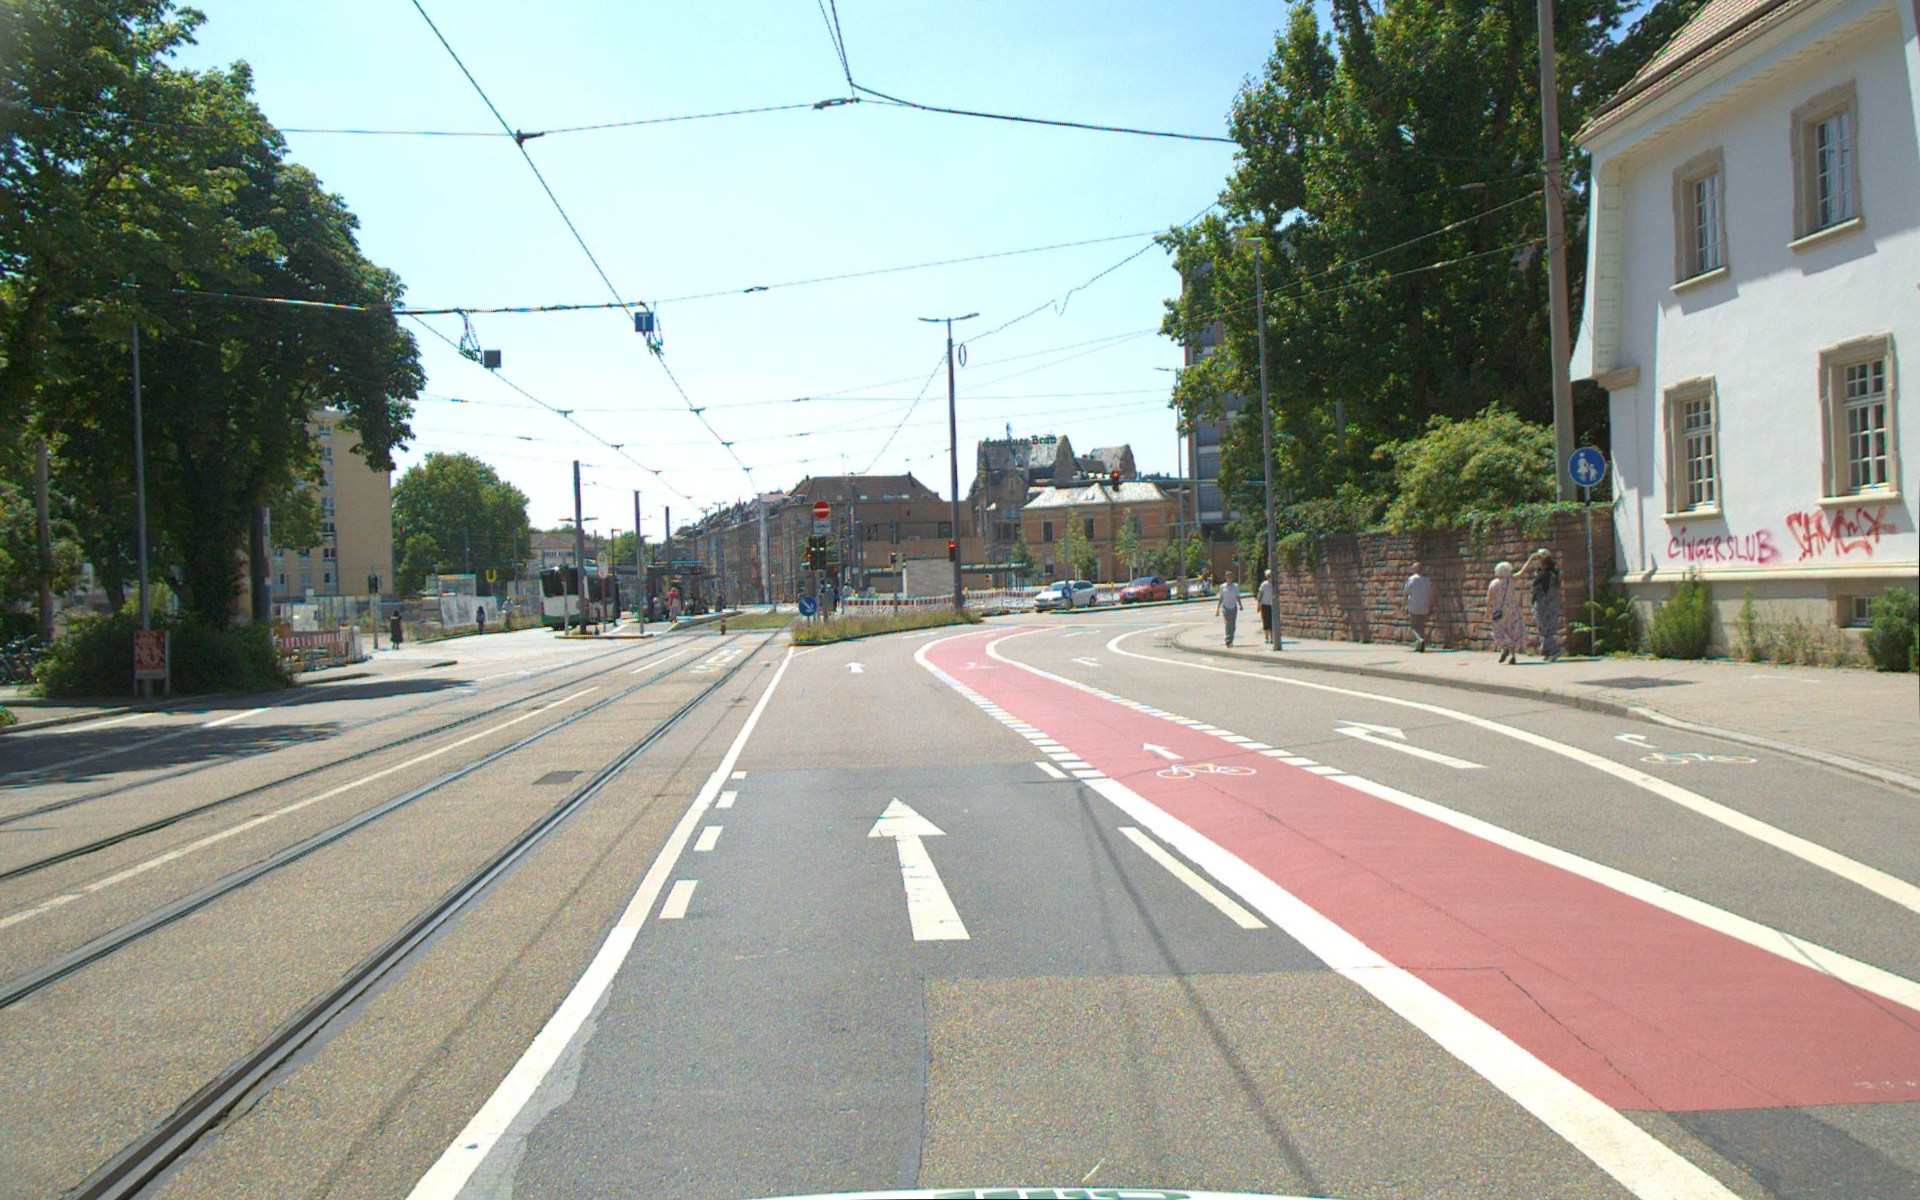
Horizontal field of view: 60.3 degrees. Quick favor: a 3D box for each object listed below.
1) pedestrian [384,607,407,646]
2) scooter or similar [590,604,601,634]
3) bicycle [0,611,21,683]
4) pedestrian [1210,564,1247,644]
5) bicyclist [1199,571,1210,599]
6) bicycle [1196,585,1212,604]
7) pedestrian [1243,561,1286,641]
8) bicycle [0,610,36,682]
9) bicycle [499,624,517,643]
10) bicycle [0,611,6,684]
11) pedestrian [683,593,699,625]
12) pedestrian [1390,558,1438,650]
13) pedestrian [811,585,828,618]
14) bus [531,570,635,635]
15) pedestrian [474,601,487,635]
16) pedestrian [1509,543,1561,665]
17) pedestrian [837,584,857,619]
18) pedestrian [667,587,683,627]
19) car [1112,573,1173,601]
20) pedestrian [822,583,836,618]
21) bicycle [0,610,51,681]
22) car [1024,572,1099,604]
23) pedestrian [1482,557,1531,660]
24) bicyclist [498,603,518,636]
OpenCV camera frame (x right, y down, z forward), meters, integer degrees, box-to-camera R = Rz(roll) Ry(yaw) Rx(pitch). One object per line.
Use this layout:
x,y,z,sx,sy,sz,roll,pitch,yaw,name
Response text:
-23.859,1.131,69.933,0.593,1.630,0.826,-2,-1,4,pedestrian
-15.380,0.799,69.816,0.313,1.227,1.246,-3,0,-9,scooter or similar
-23.982,1.167,39.940,2.273,1.722,0.552,-2,-1,1,bicycle
6.324,0.087,39.015,0.663,1.839,0.748,-3,0,-1,pedestrian
15.558,-0.956,105.140,0.556,1.749,0.506,-2,-1,27,bicyclist
15.485,-0.339,104.910,0.390,1.194,1.768,-3,-2,27,bicycle
7.214,0.014,39.188,0.797,1.839,0.700,-3,0,-1,pedestrian
-23.955,1.149,40.550,2.273,1.722,0.552,-2,-1,1,bicycle
-23.864,1.779,87.372,0.494,0.930,2.367,-2,1,-6,bicycle
-23.990,1.172,39.307,2.273,1.722,0.552,-2,-1,1,bicycle
-18.254,0.632,112.326,0.881,2.133,0.831,-3,0,0,pedestrian
8.514,0.079,31.029,0.647,1.676,0.624,-3,0,0,pedestrian
-7.594,0.094,89.438,0.715,1.736,0.740,-2,-1,-16,pedestrian
-21.079,0.068,93.746,2.951,3.213,17.483,-2,0,-4,bus
-25.377,0.953,87.477,0.556,1.735,0.396,-3,0,-12,pedestrian
8.925,0.068,25.666,0.615,1.804,0.717,0,-6,29,pedestrian
-6.314,0.098,92.428,0.718,1.897,0.762,-3,-1,44,pedestrian
-14.218,0.349,82.639,0.661,1.942,0.638,-3,0,-14,pedestrian
10.106,-0.729,91.193,1.699,1.449,4.114,-3,0,32,car
-7.141,0.033,90.433,0.645,1.864,0.758,-1,0,-12,pedestrian
-23.942,1.157,41.171,2.273,1.722,0.552,-2,-1,1,bicycle
5.100,-0.608,82.476,1.955,1.463,4.699,-3,0,28,car
8.506,0.126,25.768,0.505,1.559,0.597,-3,0,0,pedestrian
-23.893,1.031,87.461,0.805,1.739,0.769,-2,0,-6,bicyclist
